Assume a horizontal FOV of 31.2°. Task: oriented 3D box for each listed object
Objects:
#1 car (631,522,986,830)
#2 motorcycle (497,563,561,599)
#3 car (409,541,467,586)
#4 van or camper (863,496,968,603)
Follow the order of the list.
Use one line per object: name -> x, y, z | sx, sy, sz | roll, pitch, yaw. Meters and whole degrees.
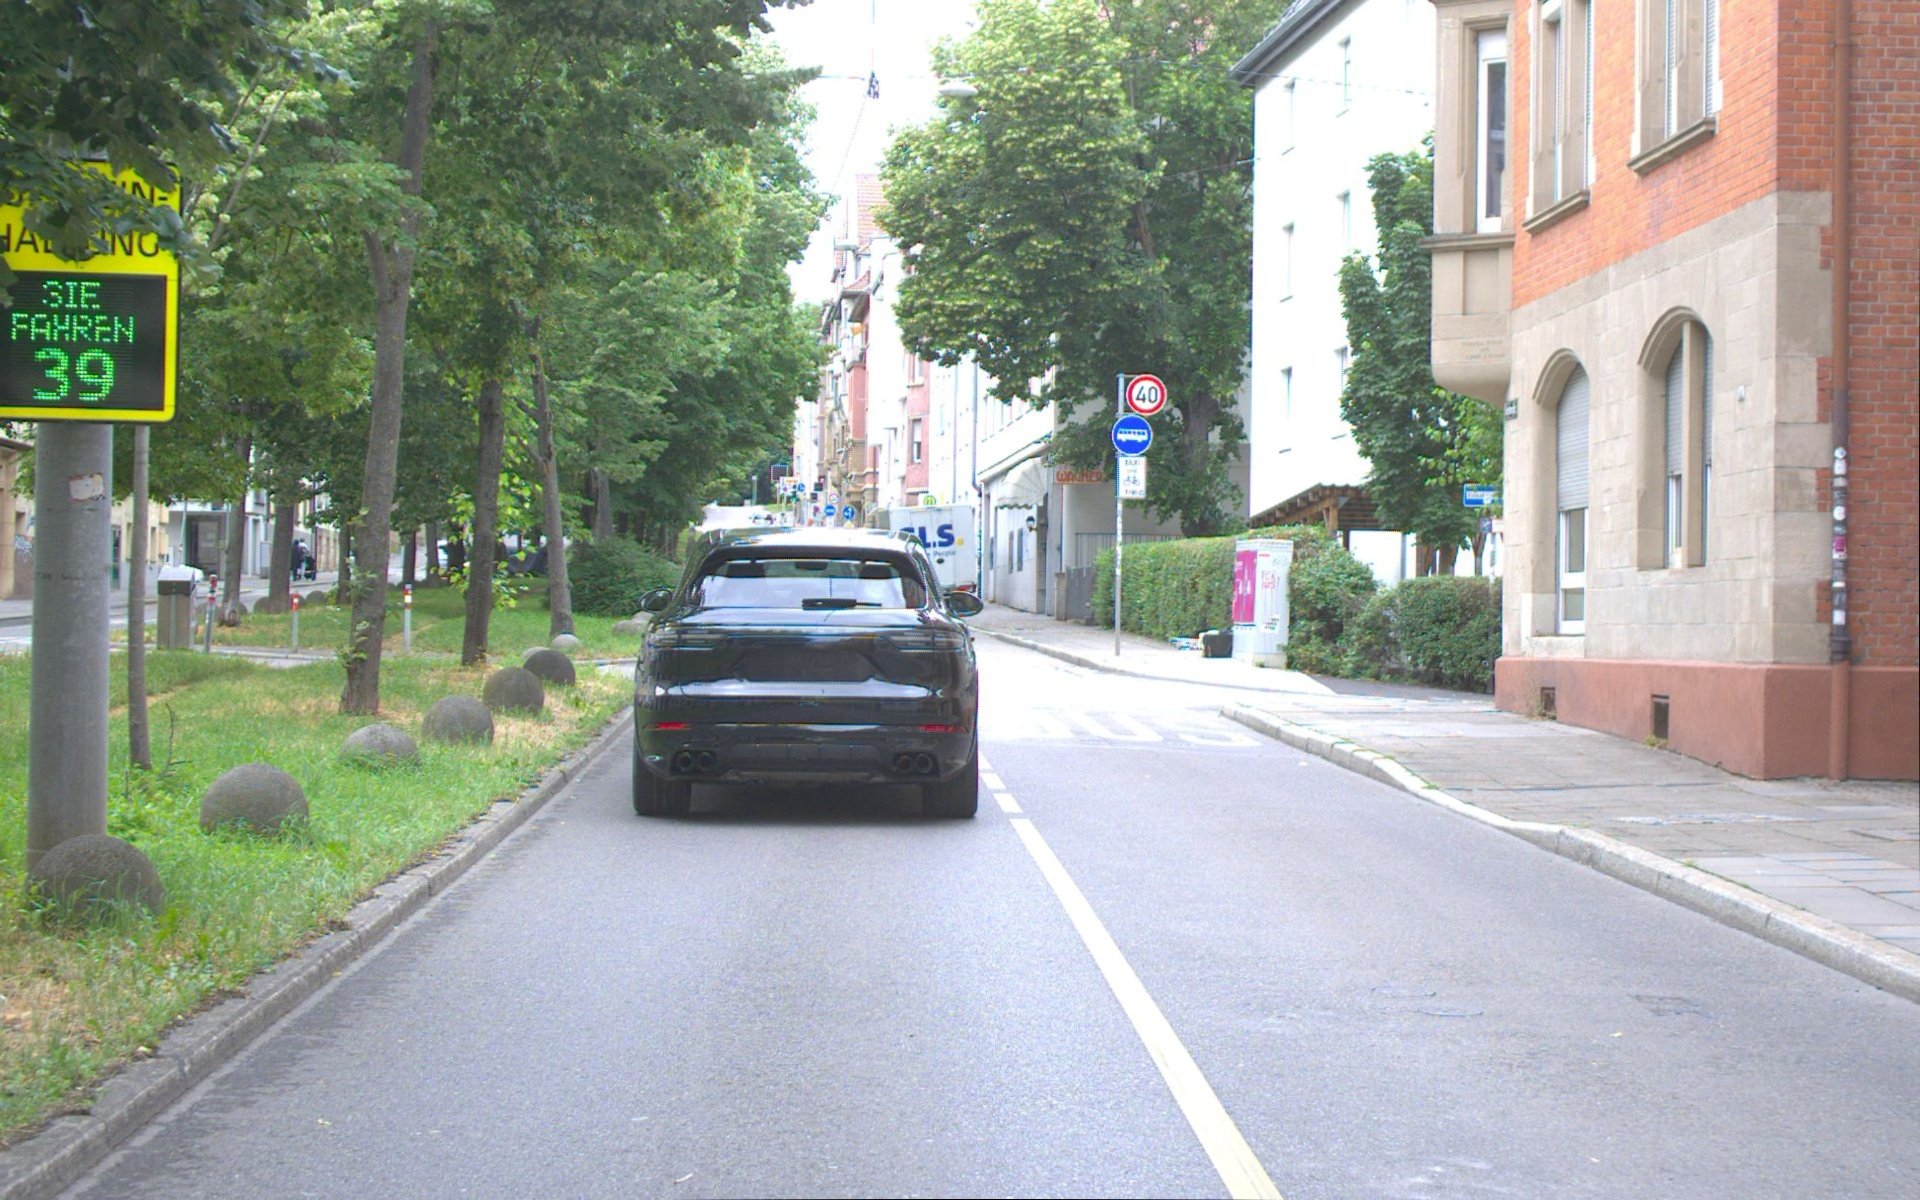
car -> -1.022, 0.403, 20.858 | 1.903, 1.660, 4.136 | 1, 0, -6
motorcycle -> -16.342, -0.732, 130.416 | 2.382, 1.312, 1.046 | 1, 1, -5
car -> -21.274, -1.484, 140.225 | 1.948, 1.623, 4.365 | -6, 1, -5
van or camper -> -1.276, -1.357, 94.071 | 2.480, 2.793, 7.239 | 1, 0, -4
